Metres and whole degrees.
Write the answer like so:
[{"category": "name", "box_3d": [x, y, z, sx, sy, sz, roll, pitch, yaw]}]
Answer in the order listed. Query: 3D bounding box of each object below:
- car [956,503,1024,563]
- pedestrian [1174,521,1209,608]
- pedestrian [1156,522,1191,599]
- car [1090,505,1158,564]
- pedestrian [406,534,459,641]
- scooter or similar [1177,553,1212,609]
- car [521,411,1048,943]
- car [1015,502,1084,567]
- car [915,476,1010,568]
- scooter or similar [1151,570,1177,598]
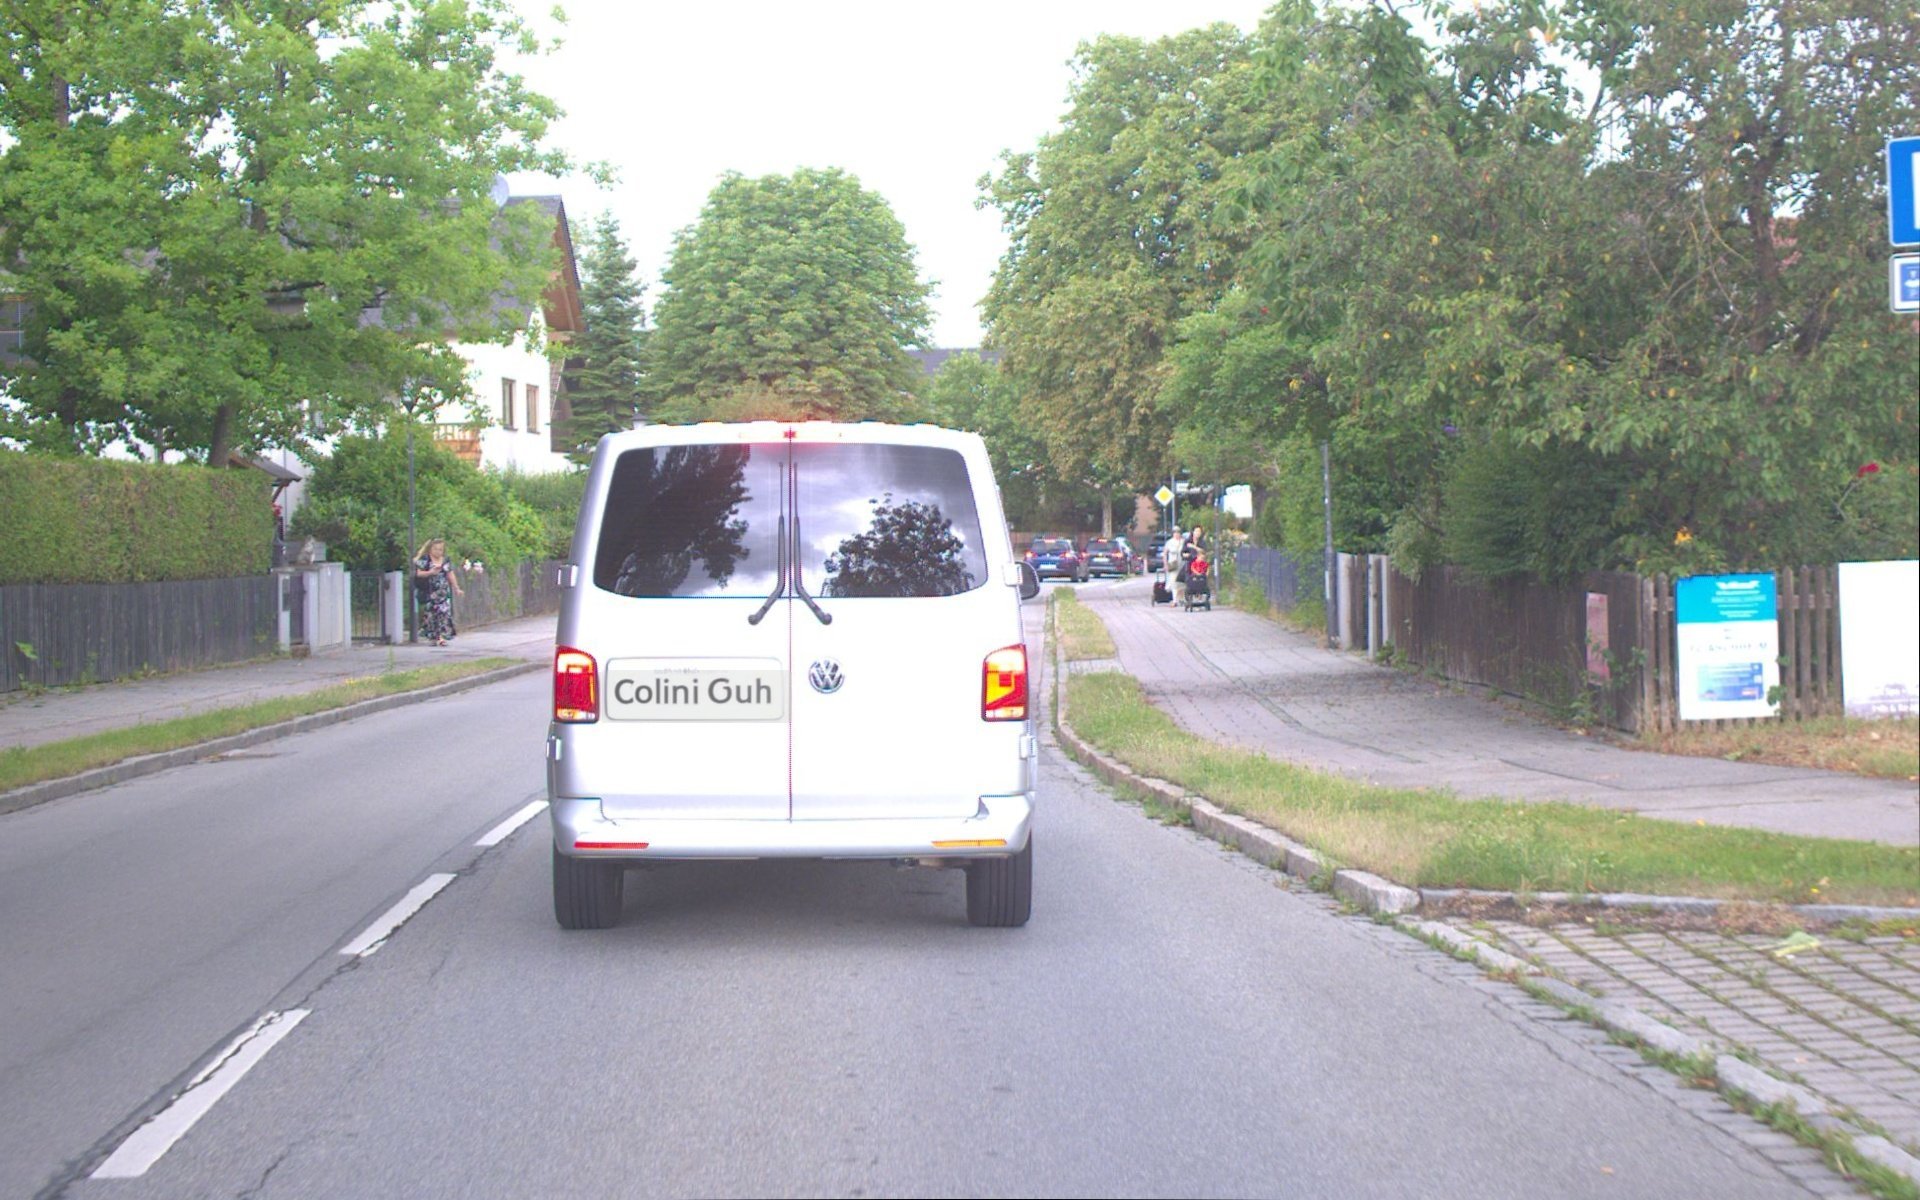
[{"category": "car", "box_3d": [1.063, -2.366, 120.743, 1.994, 2.007, 3.999, -2, 1, 6]}, {"category": "pedestrian", "box_3d": [4.127, -0.638, 61.371, 0.551, 1.544, 0.612, 0, 1, -3]}, {"category": "pedestrian", "box_3d": [4.252, -0.788, 68.447, 0.622, 1.518, 0.579, 0, 1, -3]}, {"category": "car", "box_3d": [5.843, -2.349, 122.195, 1.994, 2.007, 3.999, -2, 1, 8]}, {"category": "pedestrian", "box_3d": [-7.690, -0.186, 50.117, 0.622, 1.544, 0.522, 0, 1, -28]}, {"category": "scooter or similar", "box_3d": [4.142, -0.342, 60.721, 0.551, 0.968, 0.620, 0, 1, -3]}, {"category": "car", "box_3d": [-0.611, 0.241, 14.393, 1.888, 1.905, 4.000, 0, 1, 1]}, {"category": "car", "box_3d": [2.942, -2.141, 111.753, 1.994, 2.007, 4.000, -2, 1, 4]}, {"category": "car", "box_3d": [0.088, -1.748, 77.530, 1.993, 2.007, 4.000, 0, 1, 2]}, {"category": "scooter or similar", "box_3d": [4.094, -0.325, 69.137, 0.474, 0.543, 0.459, 0, 1, -3]}]
